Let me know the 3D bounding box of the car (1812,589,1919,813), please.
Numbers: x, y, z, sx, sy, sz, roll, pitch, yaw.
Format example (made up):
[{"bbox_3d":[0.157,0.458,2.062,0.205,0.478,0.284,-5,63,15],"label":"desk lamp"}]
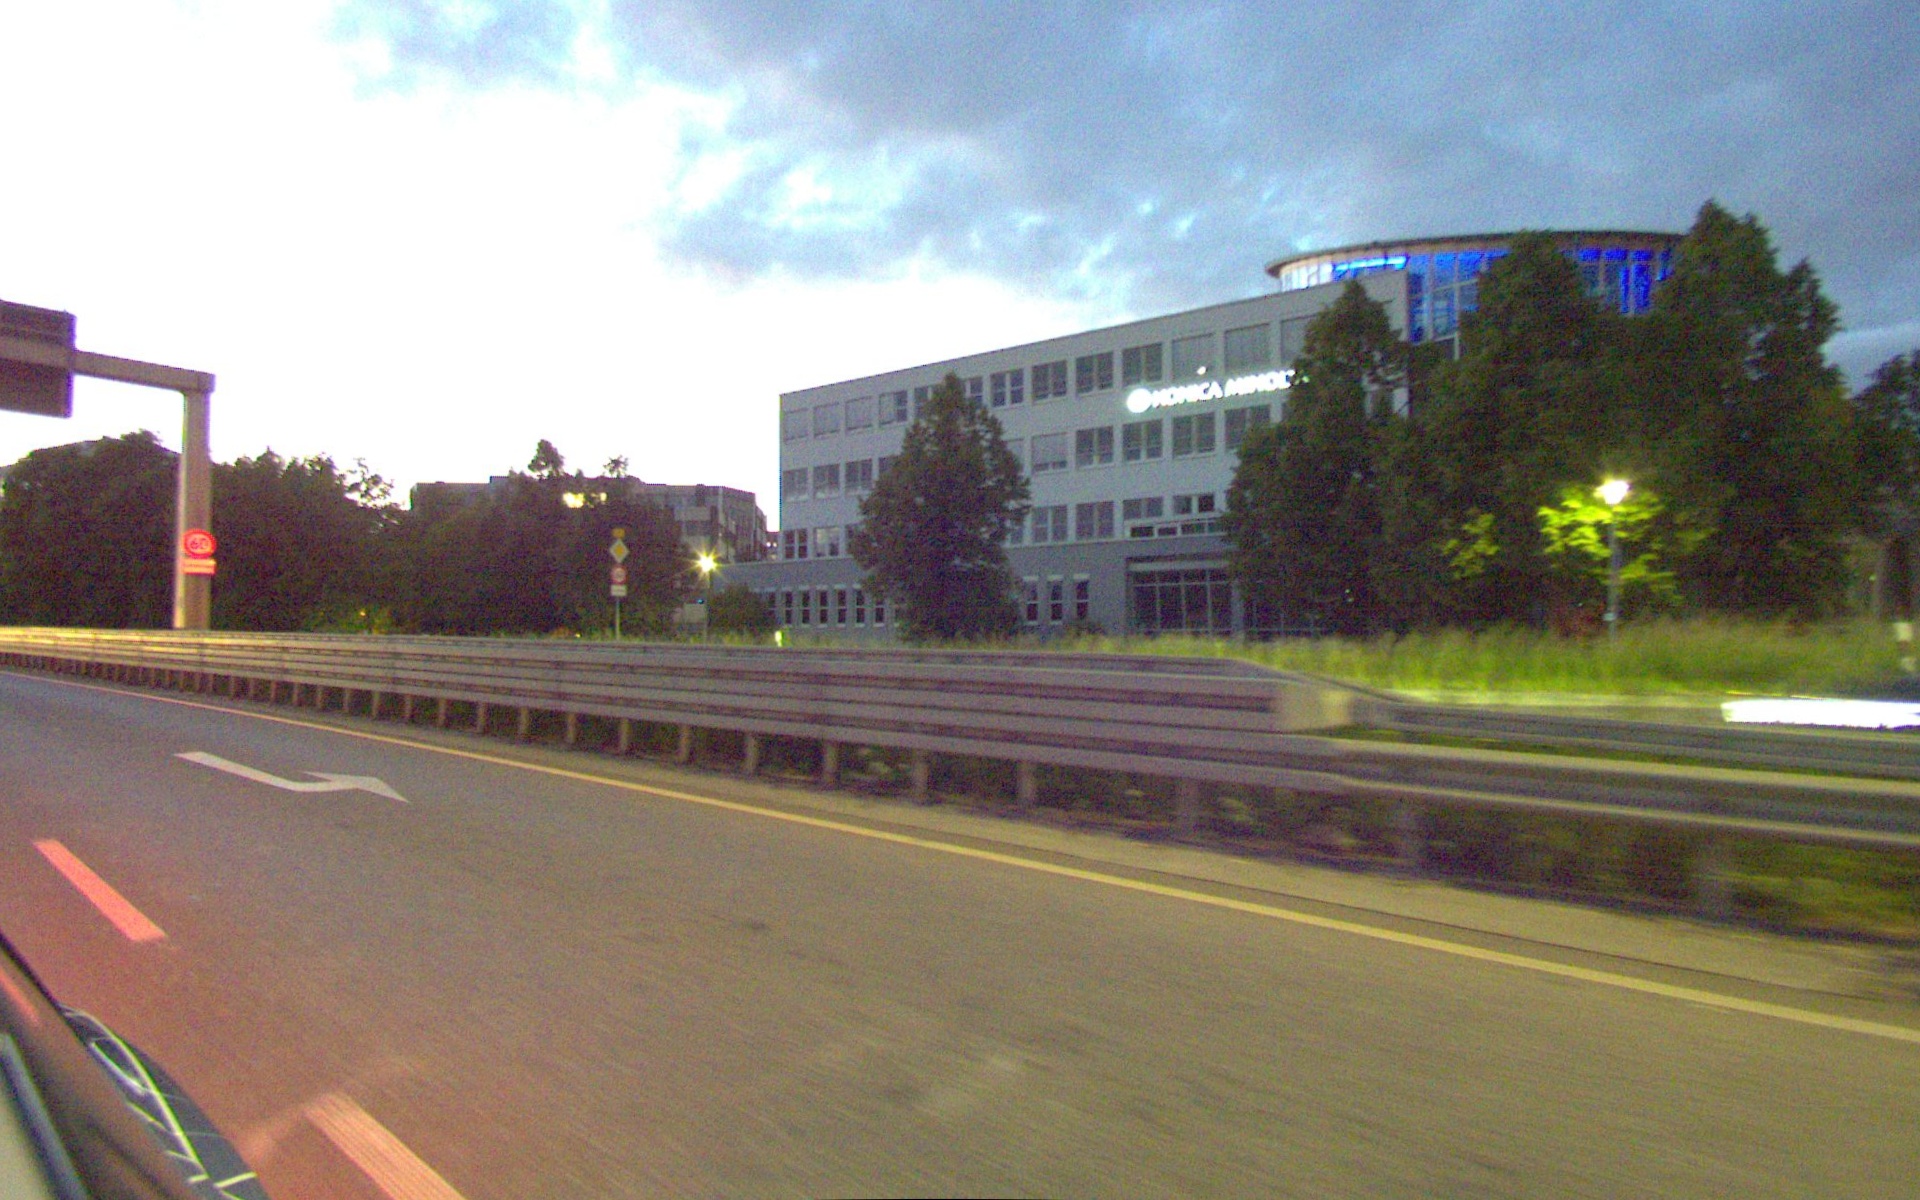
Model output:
[{"bbox_3d":[8.418,0.659,6.332,4.678,1.493,1.973,-1,-1,40],"label":"car"}]
